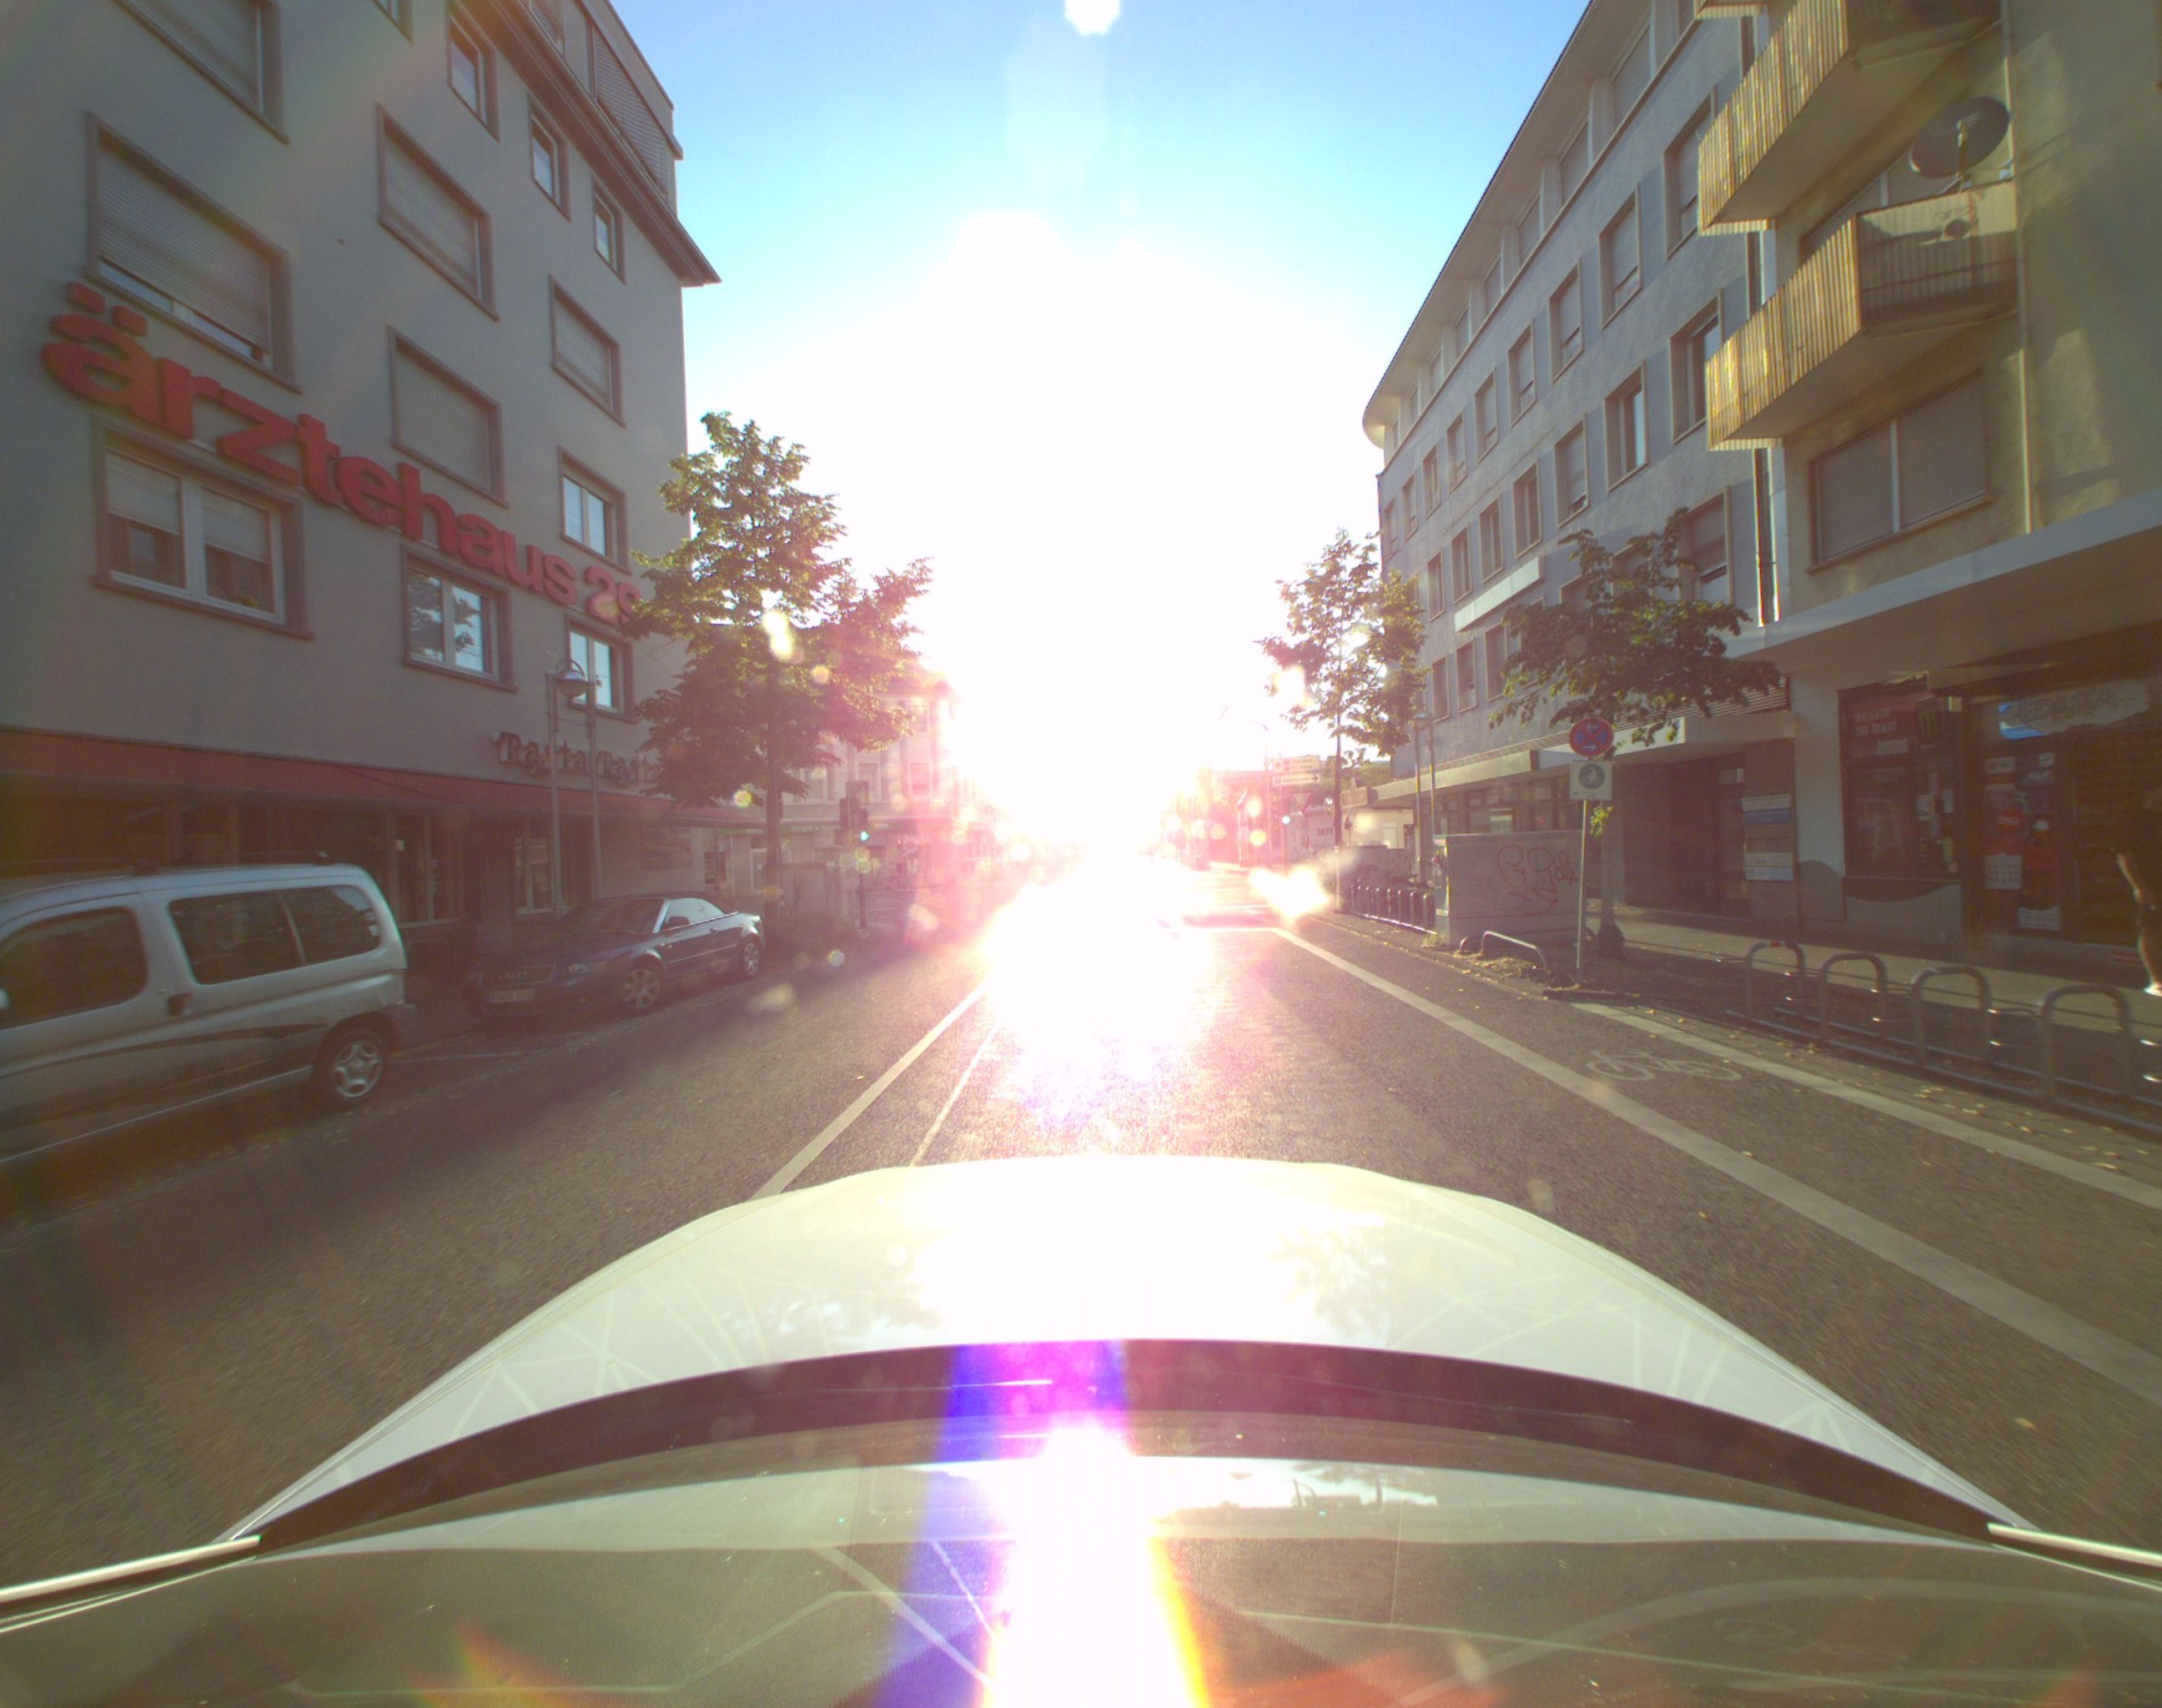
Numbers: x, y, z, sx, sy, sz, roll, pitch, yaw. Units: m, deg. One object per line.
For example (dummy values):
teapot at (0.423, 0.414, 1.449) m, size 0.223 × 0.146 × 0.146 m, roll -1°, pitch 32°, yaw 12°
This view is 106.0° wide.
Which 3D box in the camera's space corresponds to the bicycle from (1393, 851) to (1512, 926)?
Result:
bicycle at (6.540, 0.588, 14.357) m, size 1.911 × 1.203 × 0.468 m, roll -3°, pitch 0°, yaw -8°

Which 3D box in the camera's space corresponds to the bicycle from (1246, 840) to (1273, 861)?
bicycle at (14.052, -0.281, 64.224) m, size 1.977 × 1.522 × 0.480 m, roll -3°, pitch 0°, yaw 4°

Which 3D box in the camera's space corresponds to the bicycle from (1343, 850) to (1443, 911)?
bicycle at (6.721, 0.565, 17.588) m, size 1.904 × 1.203 × 0.470 m, roll -3°, pitch 0°, yaw 4°

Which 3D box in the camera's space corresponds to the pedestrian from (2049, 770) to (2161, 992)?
pedestrian at (9.007, 0.213, 6.959) m, size 0.705 × 1.807 × 0.651 m, roll -1°, pitch 1°, yaw 3°

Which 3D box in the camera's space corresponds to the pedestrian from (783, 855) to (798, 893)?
pedestrian at (-14.936, 1.038, 41.822) m, size 0.532 × 1.928 × 0.633 m, roll -3°, pitch 0°, yaw -33°

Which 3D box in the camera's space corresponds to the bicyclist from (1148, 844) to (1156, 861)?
bicyclist at (6.957, -0.148, 80.160) m, size 0.675 × 1.707 × 0.670 m, roll -3°, pitch 0°, yaw 4°

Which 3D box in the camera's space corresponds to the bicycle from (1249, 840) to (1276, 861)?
bicycle at (14.081, -0.264, 63.184) m, size 1.977 × 1.522 × 0.480 m, roll -3°, pitch 0°, yaw 4°

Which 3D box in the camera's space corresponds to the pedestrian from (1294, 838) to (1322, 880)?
pedestrian at (9.843, 0.202, 35.290) m, size 0.796 × 1.726 × 1.000 m, roll -5°, pitch -1°, yaw 31°

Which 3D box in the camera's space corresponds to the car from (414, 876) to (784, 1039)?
car at (-5.694, 1.112, 10.445) m, size 1.907 × 1.386 × 4.385 m, roll -3°, pitch 0°, yaw 2°

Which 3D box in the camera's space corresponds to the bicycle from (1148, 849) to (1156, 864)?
bicycle at (6.982, 0.206, 80.184) m, size 0.675 × 1.402 × 2.233 m, roll -3°, pitch 0°, yaw 5°

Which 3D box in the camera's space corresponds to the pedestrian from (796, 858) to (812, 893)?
pedestrian at (-14.175, 1.076, 41.742) m, size 0.699 × 1.745 × 0.636 m, roll -3°, pitch 0°, yaw -19°

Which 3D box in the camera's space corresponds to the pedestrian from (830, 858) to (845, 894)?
pedestrian at (-12.651, 1.137, 42.230) m, size 0.647 × 1.778 × 0.668 m, roll -3°, pitch 0°, yaw -19°

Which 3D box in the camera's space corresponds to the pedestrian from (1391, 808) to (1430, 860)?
pedestrian at (12.765, -0.769, 31.563) m, size 0.993 × 1.886 × 0.802 m, roll -4°, pitch -1°, yaw -17°

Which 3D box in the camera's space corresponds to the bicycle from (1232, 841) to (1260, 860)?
bicycle at (14.228, -0.270, 70.291) m, size 2.212 × 1.522 × 0.682 m, roll -3°, pitch 0°, yaw 4°

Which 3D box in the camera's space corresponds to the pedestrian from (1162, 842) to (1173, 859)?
pedestrian at (10.720, -0.434, 100.815) m, size 0.981 × 1.956 × 0.811 m, roll -3°, pitch 0°, yaw 29°

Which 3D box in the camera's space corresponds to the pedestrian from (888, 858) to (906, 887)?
pedestrian at (-10.160, 1.012, 44.988) m, size 0.870 × 1.548 × 0.695 m, roll -3°, pitch 0°, yaw -19°

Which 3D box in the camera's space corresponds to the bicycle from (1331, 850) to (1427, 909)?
bicycle at (6.602, 0.559, 18.088) m, size 1.904 × 1.203 × 0.470 m, roll -3°, pitch 0°, yaw 4°

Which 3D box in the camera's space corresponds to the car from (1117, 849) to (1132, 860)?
car at (6.905, 0.050, 128.944) m, size 2.294 × 1.678 × 5.537 m, roll -3°, pitch 0°, yaw 3°

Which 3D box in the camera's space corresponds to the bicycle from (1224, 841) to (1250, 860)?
bicycle at (14.070, -0.321, 73.449) m, size 2.210 × 1.522 × 0.682 m, roll -3°, pitch 0°, yaw 7°

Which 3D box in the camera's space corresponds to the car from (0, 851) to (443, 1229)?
car at (-6.125, 0.938, 4.442) m, size 1.909 × 1.787 × 4.147 m, roll -3°, pitch 0°, yaw 0°

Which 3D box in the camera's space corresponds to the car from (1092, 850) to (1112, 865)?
car at (2.758, 0.408, 104.235) m, size 2.294 × 1.678 × 5.537 m, roll -3°, pitch 0°, yaw 3°

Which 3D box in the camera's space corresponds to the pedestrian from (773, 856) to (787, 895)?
pedestrian at (-15.287, 1.078, 41.355) m, size 0.498 × 1.928 × 0.570 m, roll -3°, pitch 0°, yaw -32°

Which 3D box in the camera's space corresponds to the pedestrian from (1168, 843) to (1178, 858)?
pedestrian at (11.159, -0.410, 98.780) m, size 0.797 × 1.786 × 0.998 m, roll -4°, pitch -1°, yaw 17°

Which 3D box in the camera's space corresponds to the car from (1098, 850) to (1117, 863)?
car at (3.667, 0.291, 111.799) m, size 2.294 × 1.678 × 5.537 m, roll -3°, pitch 0°, yaw 3°
